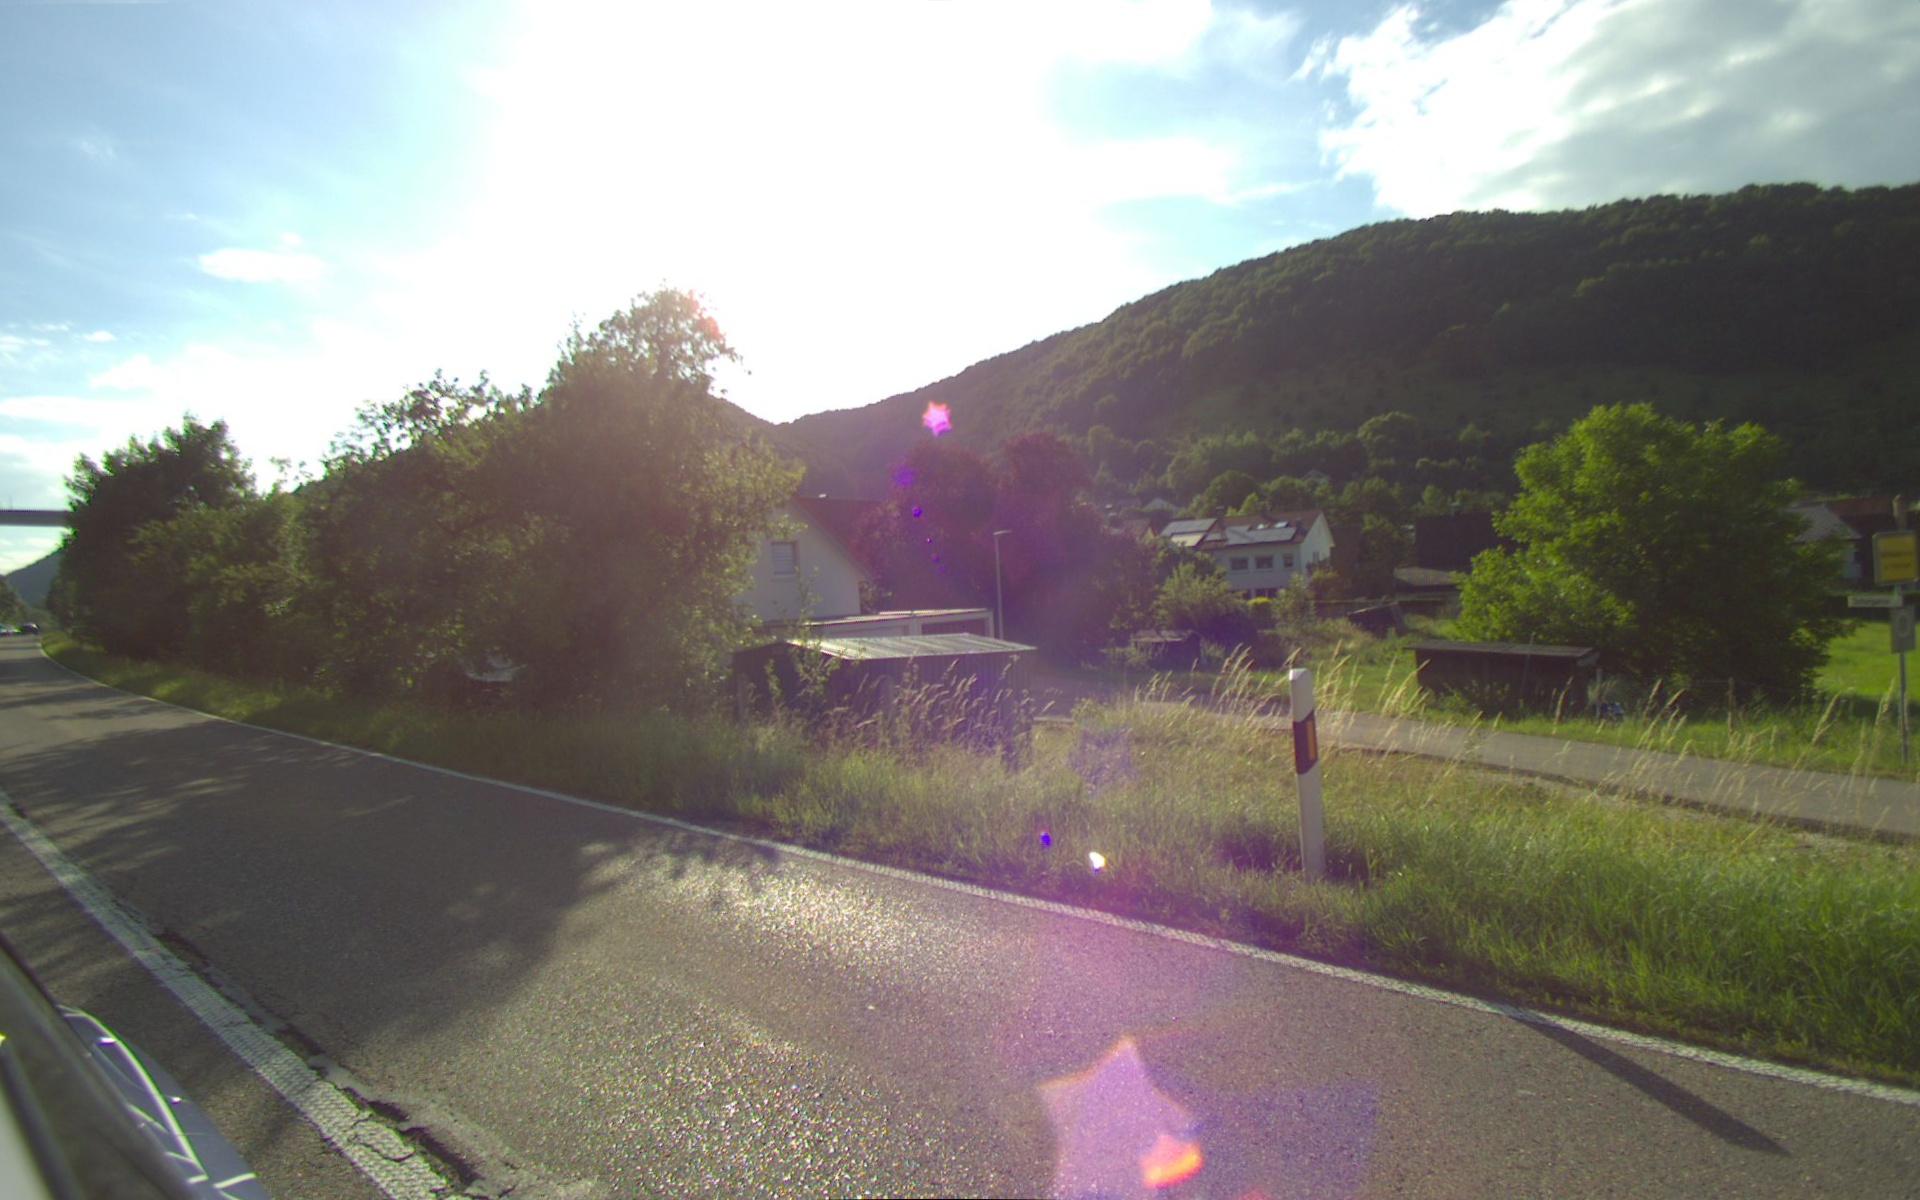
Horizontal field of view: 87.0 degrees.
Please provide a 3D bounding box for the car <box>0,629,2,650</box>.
[{"bbox_3d":[-79.497,3.220,82.644,1.792,1.630,4.004,1,-2,-43],"label":"car"}]

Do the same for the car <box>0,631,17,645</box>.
[{"bbox_3d":[-110.370,4.368,116.826,1.813,1.564,4.185,1,-2,-38],"label":"car"}]

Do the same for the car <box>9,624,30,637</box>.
[{"bbox_3d":[-117.008,3.811,125.855,1.793,1.630,3.808,1,-2,-45],"label":"car"}]
